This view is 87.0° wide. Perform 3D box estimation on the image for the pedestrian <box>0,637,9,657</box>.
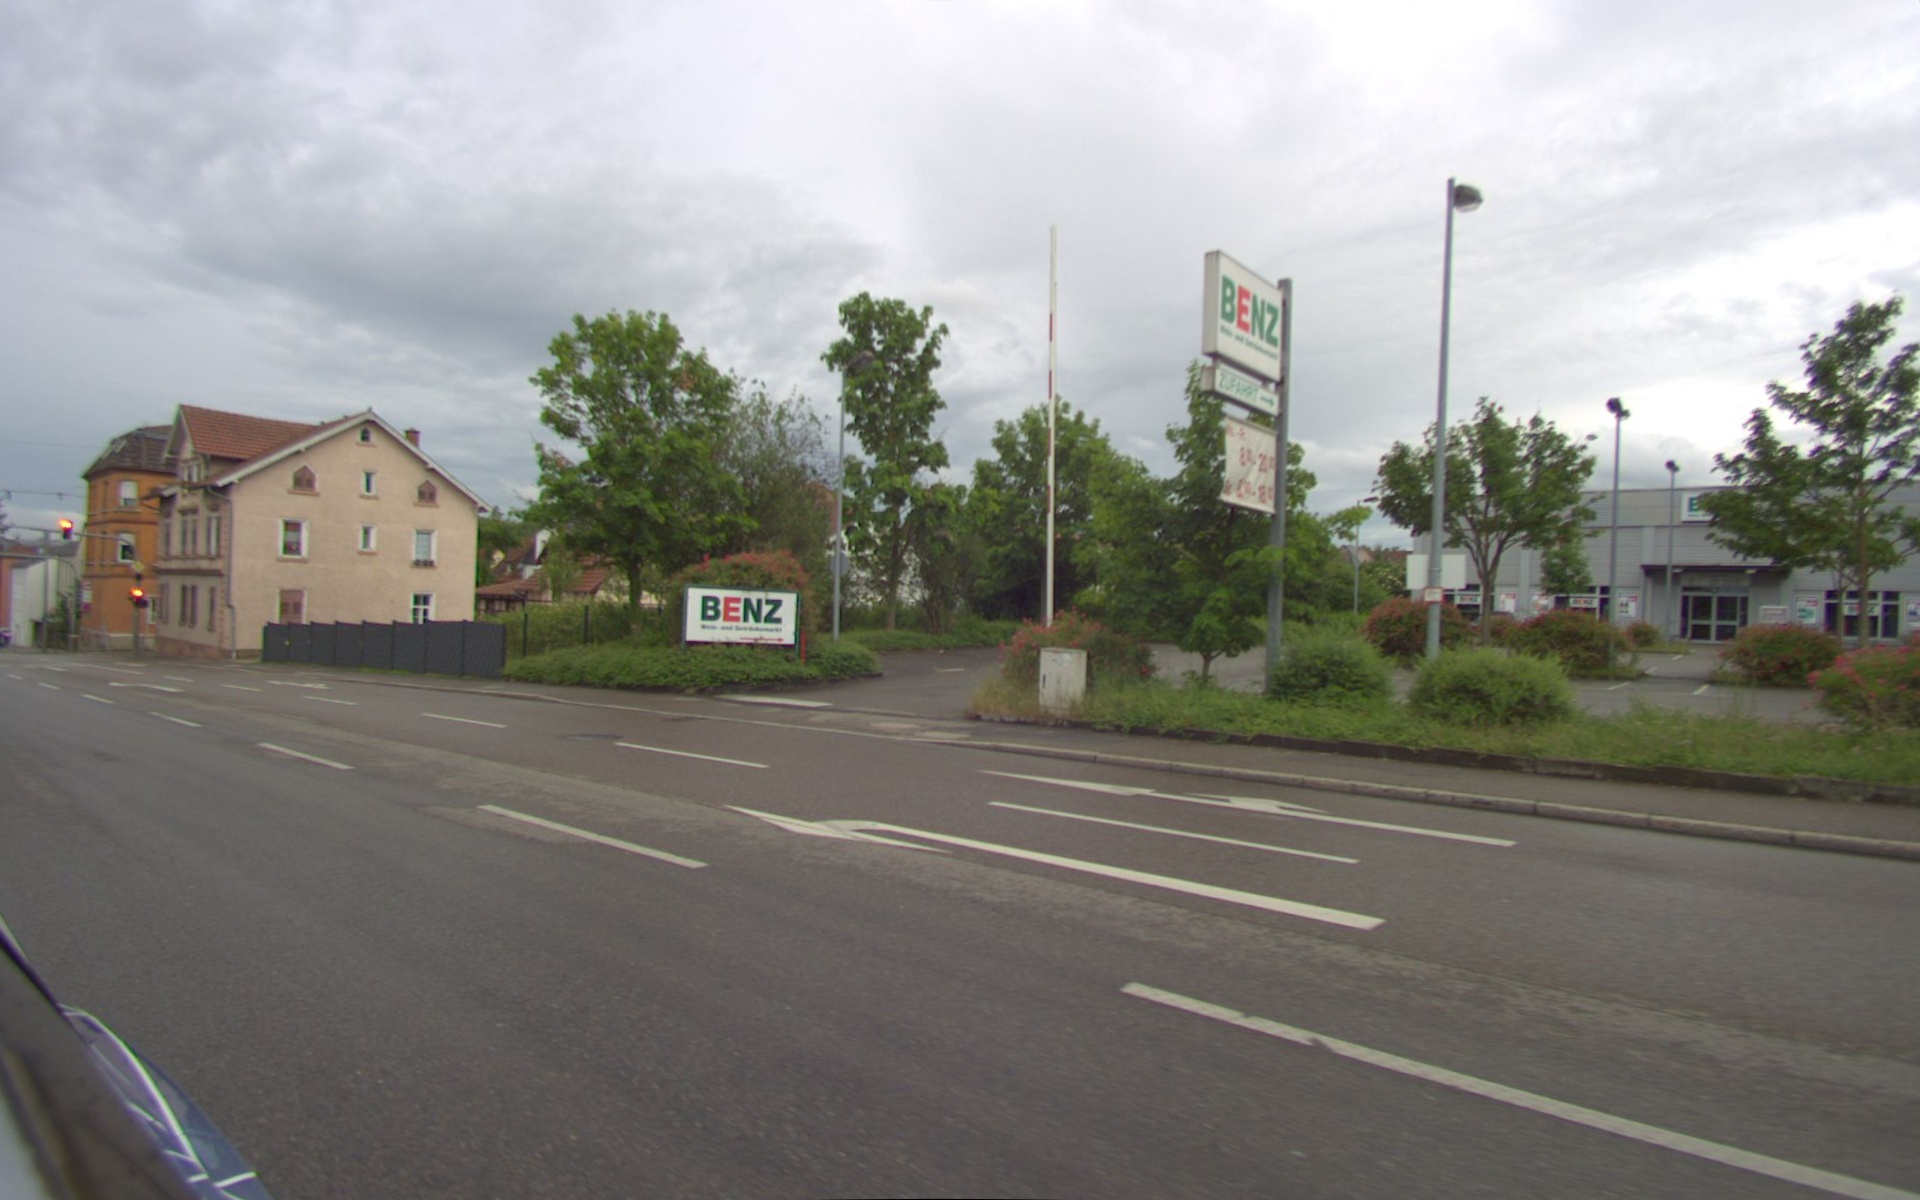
[{"bbox_3d":[-80.192,3.933,84.764,0.911,1.719,0.633,-2,-2,42],"label":"pedestrian"}]
